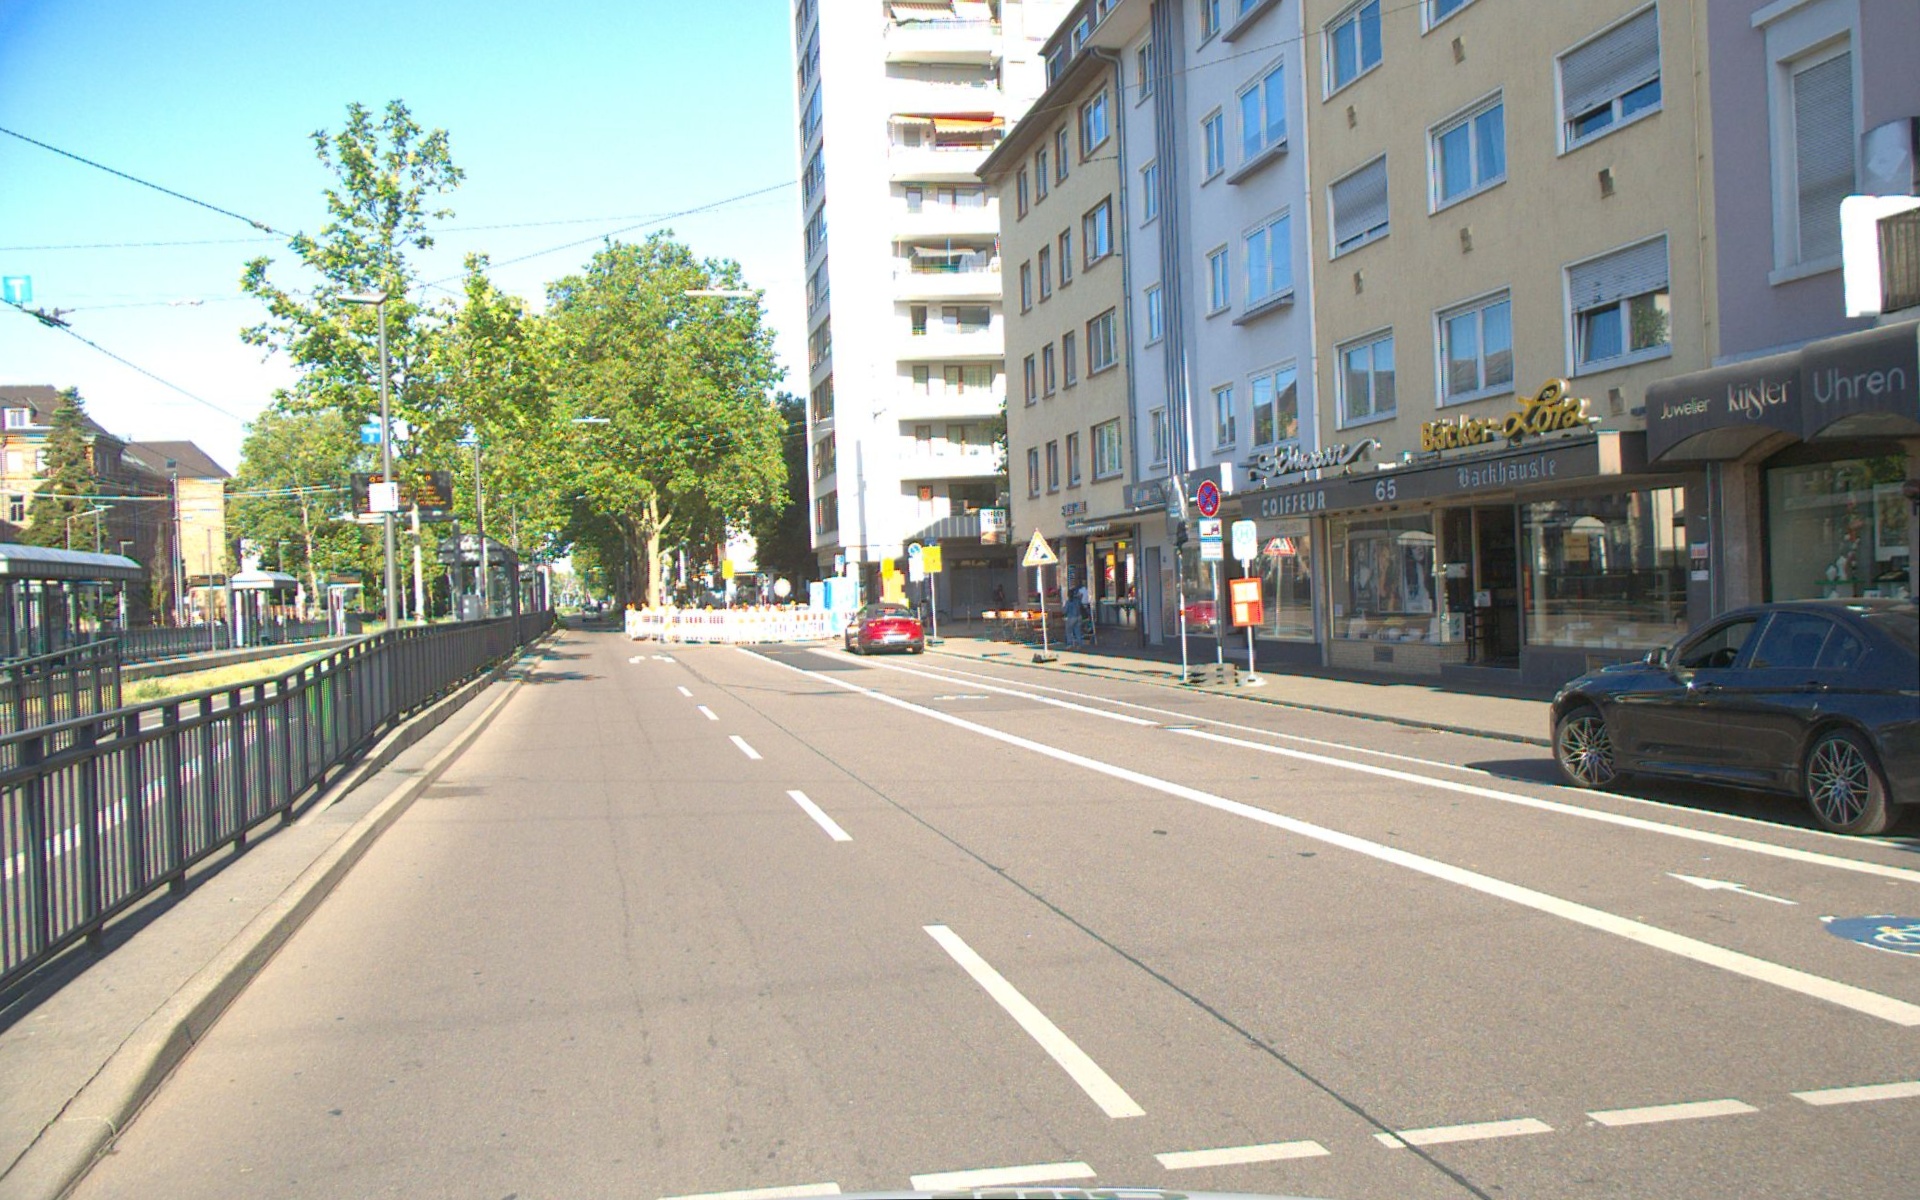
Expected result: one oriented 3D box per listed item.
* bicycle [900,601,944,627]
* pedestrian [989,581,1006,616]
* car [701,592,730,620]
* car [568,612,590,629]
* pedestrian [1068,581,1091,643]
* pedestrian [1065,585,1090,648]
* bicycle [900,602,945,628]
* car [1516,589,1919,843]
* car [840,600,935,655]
[{"bbox_3d":[-1.713,0.637,74.139,1.902,1.086,0.584,-2,0,4],"label":"bicycle"},{"bbox_3d":[1.824,-0.067,80.636,0.662,1.670,0.578,-3,1,-5],"label":"pedestrian"},{"bbox_3d":[-18.359,0.445,124.185,1.956,2.049,3.994,-2,0,-7],"label":"car"},{"bbox_3d":[-35.923,1.895,155.832,1.935,1.535,3.986,-2,0,-14],"label":"car"},{"bbox_3d":[3.232,0.327,44.871,0.461,1.672,0.507,-2,0,-11],"label":"pedestrian"},{"bbox_3d":[3.021,0.418,42.420,0.497,1.589,0.465,-2,0,-10],"label":"pedestrian"},{"bbox_3d":[-1.647,0.651,73.432,1.902,1.086,0.584,-2,0,4],"label":"bicycle"},{"bbox_3d":[6.047,0.686,11.712,1.710,1.465,4.636,-2,0,-15],"label":"car"},{"bbox_3d":[-2.139,0.758,47.605,1.904,1.455,3.984,-2,0,-15],"label":"car"}]
